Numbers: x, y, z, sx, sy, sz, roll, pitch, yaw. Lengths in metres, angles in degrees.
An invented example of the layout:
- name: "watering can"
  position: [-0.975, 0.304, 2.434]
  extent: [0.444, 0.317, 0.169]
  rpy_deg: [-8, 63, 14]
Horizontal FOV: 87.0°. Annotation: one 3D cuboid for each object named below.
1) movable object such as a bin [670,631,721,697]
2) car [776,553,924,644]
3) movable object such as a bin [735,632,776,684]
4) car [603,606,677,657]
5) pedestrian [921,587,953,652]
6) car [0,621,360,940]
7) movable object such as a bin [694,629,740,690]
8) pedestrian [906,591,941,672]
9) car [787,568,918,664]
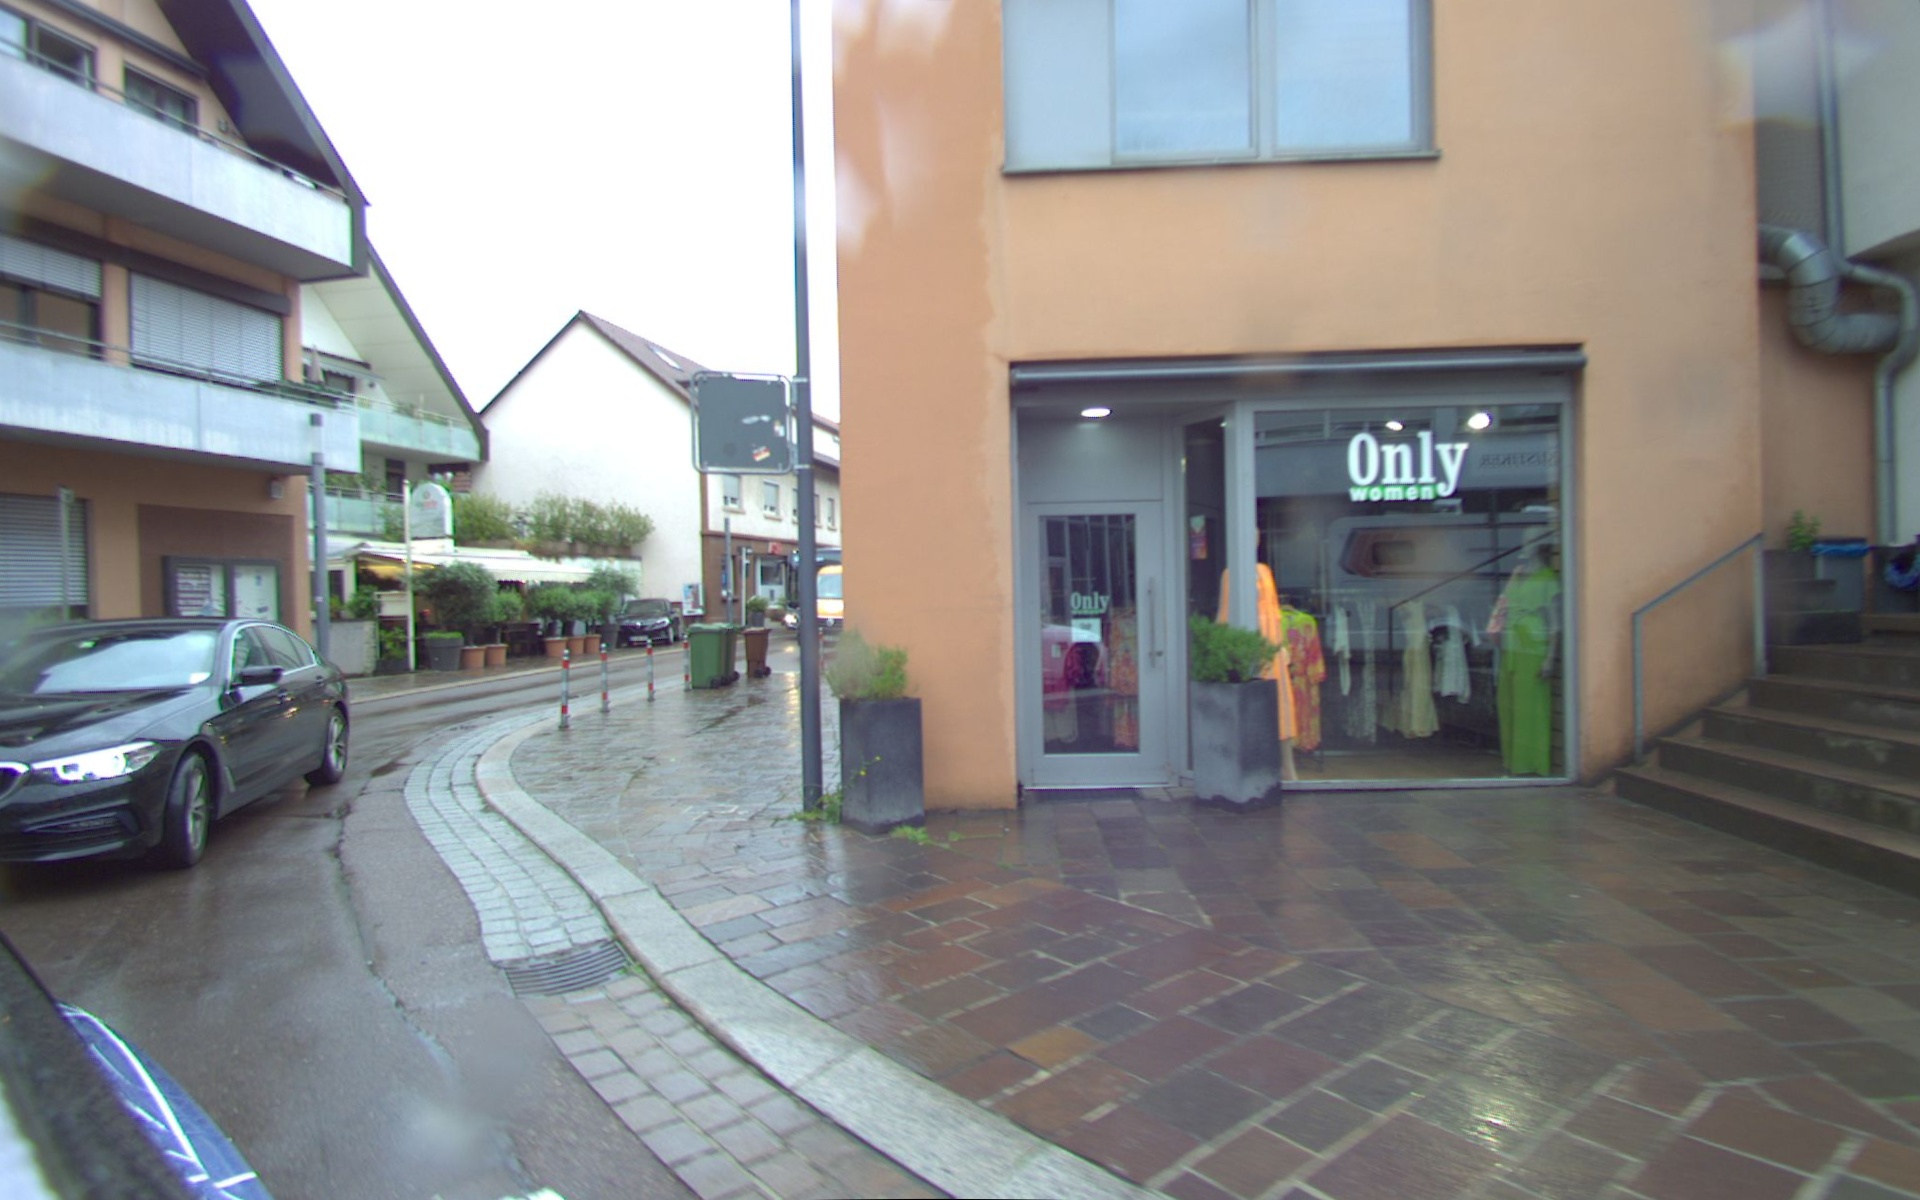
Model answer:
- name: "movable object such as a bin"
  position: [-4.413, 1.061, 16.918]
  extent: [0.650, 1.044, 0.610]
  rpy_deg: [-1, 0, 2]
- name: "car"
  position: [-3.774, -0.022, 37.321]
  extent: [2.684, 2.896, 8.808]
  rpy_deg: [-2, -1, 13]
- name: "movable object such as a bin"
  position: [-3.880, 1.091, 19.189]
  extent: [0.577, 0.934, 0.479]
  rpy_deg: [-3, 0, 12]
- name: "car"
  position: [-9.678, 0.910, 30.848]
  extent: [1.710, 1.367, 3.946]
  rpy_deg: [-1, 0, -11]
- name: "pedestrian"
  position: [-0.591, 0.510, 26.626]
  extent: [0.708, 1.652, 0.745]
  rpy_deg: [-3, 0, 4]
- name: "car"
  position: [-5.742, 0.921, 6.770]
  extent: [1.915, 1.413, 4.433]
  rpy_deg: [-1, 0, -16]
- name: "movable object such as a bin"
  position: [-4.357, 1.053, 18.156]
  extent: [0.650, 1.044, 0.610]
  rpy_deg: [-1, 0, 2]
- name: "pedestrian"
  position: [-0.737, 0.635, 20.871]
  extent: [0.652, 1.622, 0.684]
  rpy_deg: [-1, 0, 1]
- name: "car"
  position: [-2.696, 0.356, 27.000]
  extent: [1.978, 2.256, 5.844]
  rpy_deg: [-1, 0, 9]
